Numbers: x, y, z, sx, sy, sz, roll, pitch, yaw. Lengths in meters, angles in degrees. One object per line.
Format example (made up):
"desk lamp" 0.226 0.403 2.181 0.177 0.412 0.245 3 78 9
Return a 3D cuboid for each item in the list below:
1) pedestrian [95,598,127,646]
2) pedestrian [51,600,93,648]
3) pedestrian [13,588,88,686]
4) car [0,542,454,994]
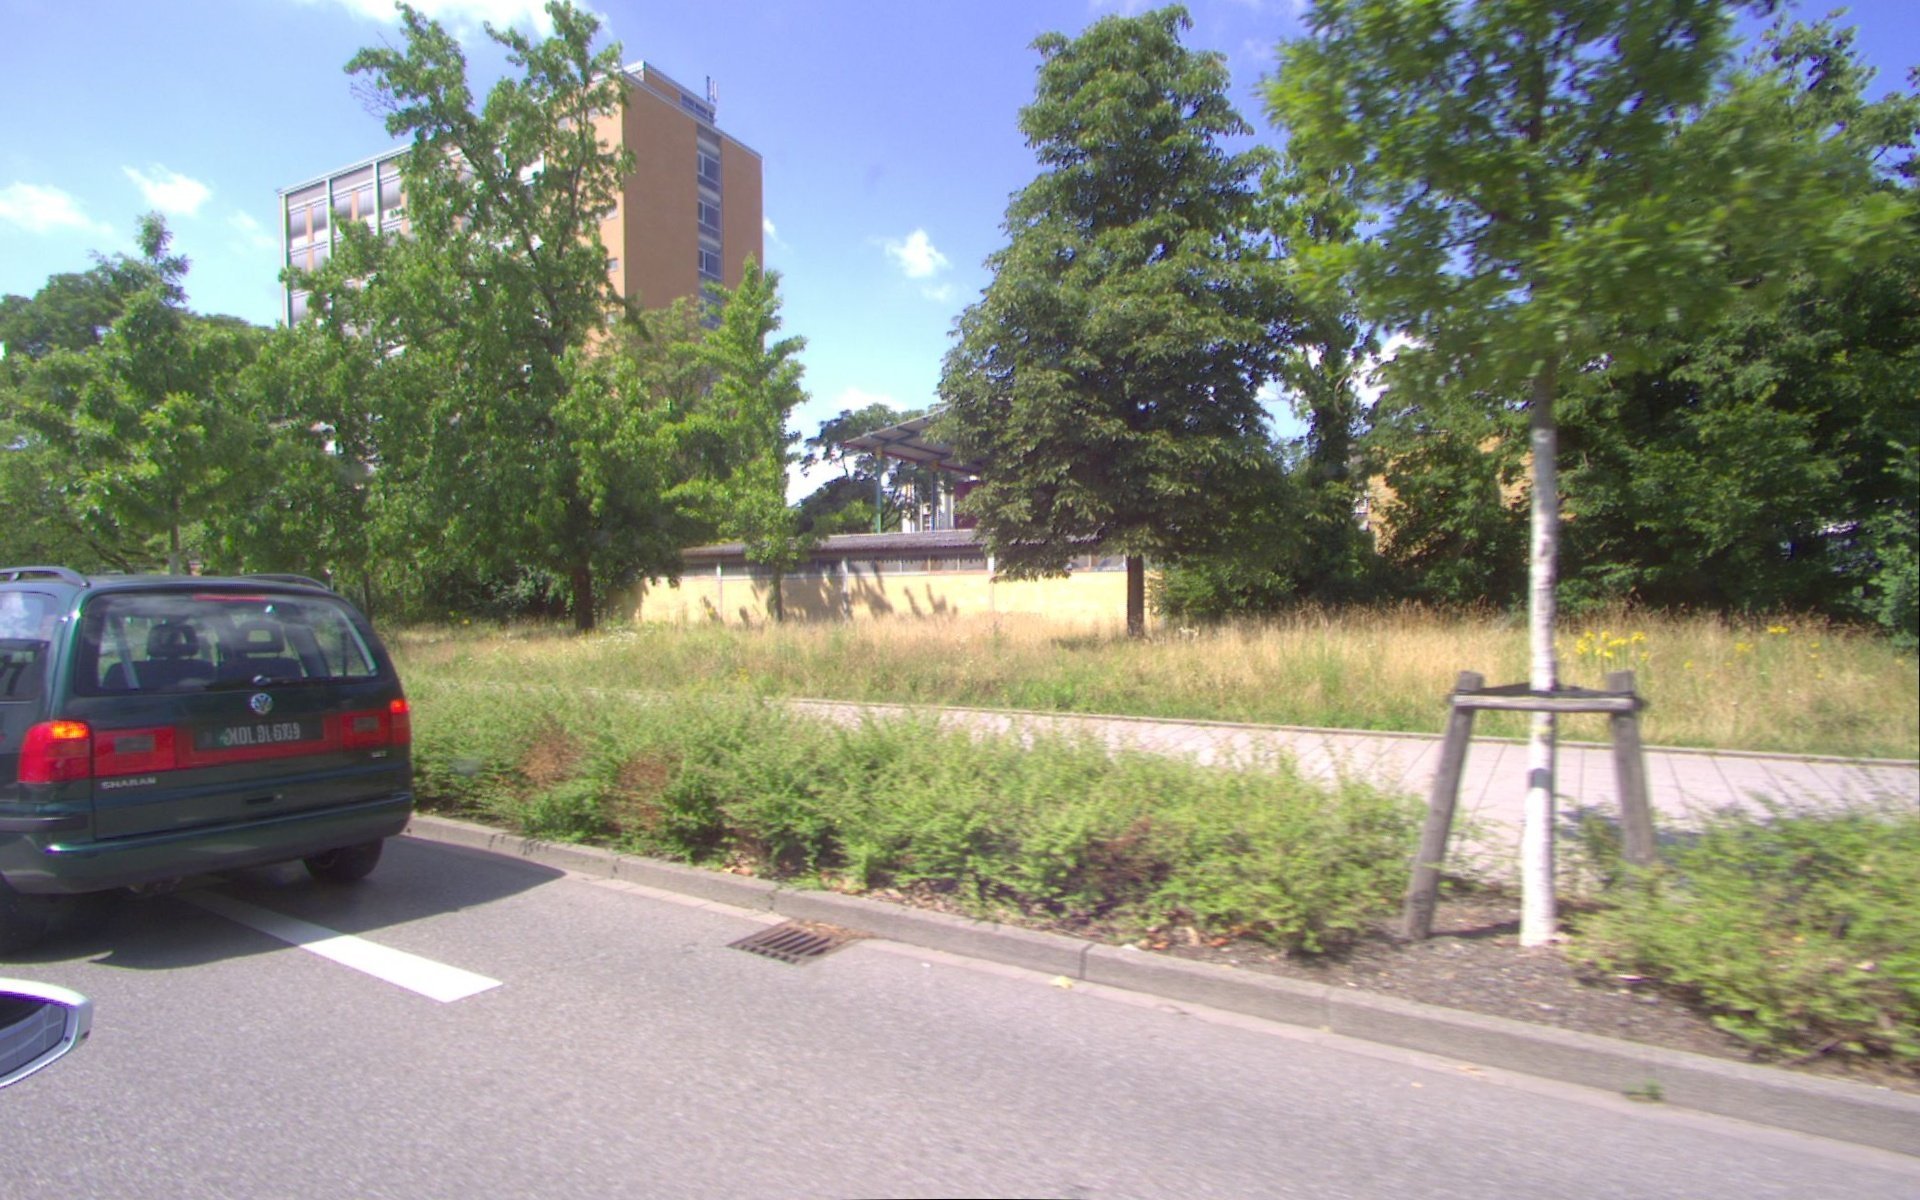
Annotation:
"pedestrian" -37.699 0.973 44.458 0.832 2.085 0.740 0 1 16
"pedestrian" -29.212 0.786 32.953 0.823 1.559 0.843 0 1 32
"pedestrian" -18.364 0.727 20.225 0.762 1.917 0.948 0 0 32
"car" -5.050 0.678 5.829 4.325 1.757 1.809 0 -1 32
